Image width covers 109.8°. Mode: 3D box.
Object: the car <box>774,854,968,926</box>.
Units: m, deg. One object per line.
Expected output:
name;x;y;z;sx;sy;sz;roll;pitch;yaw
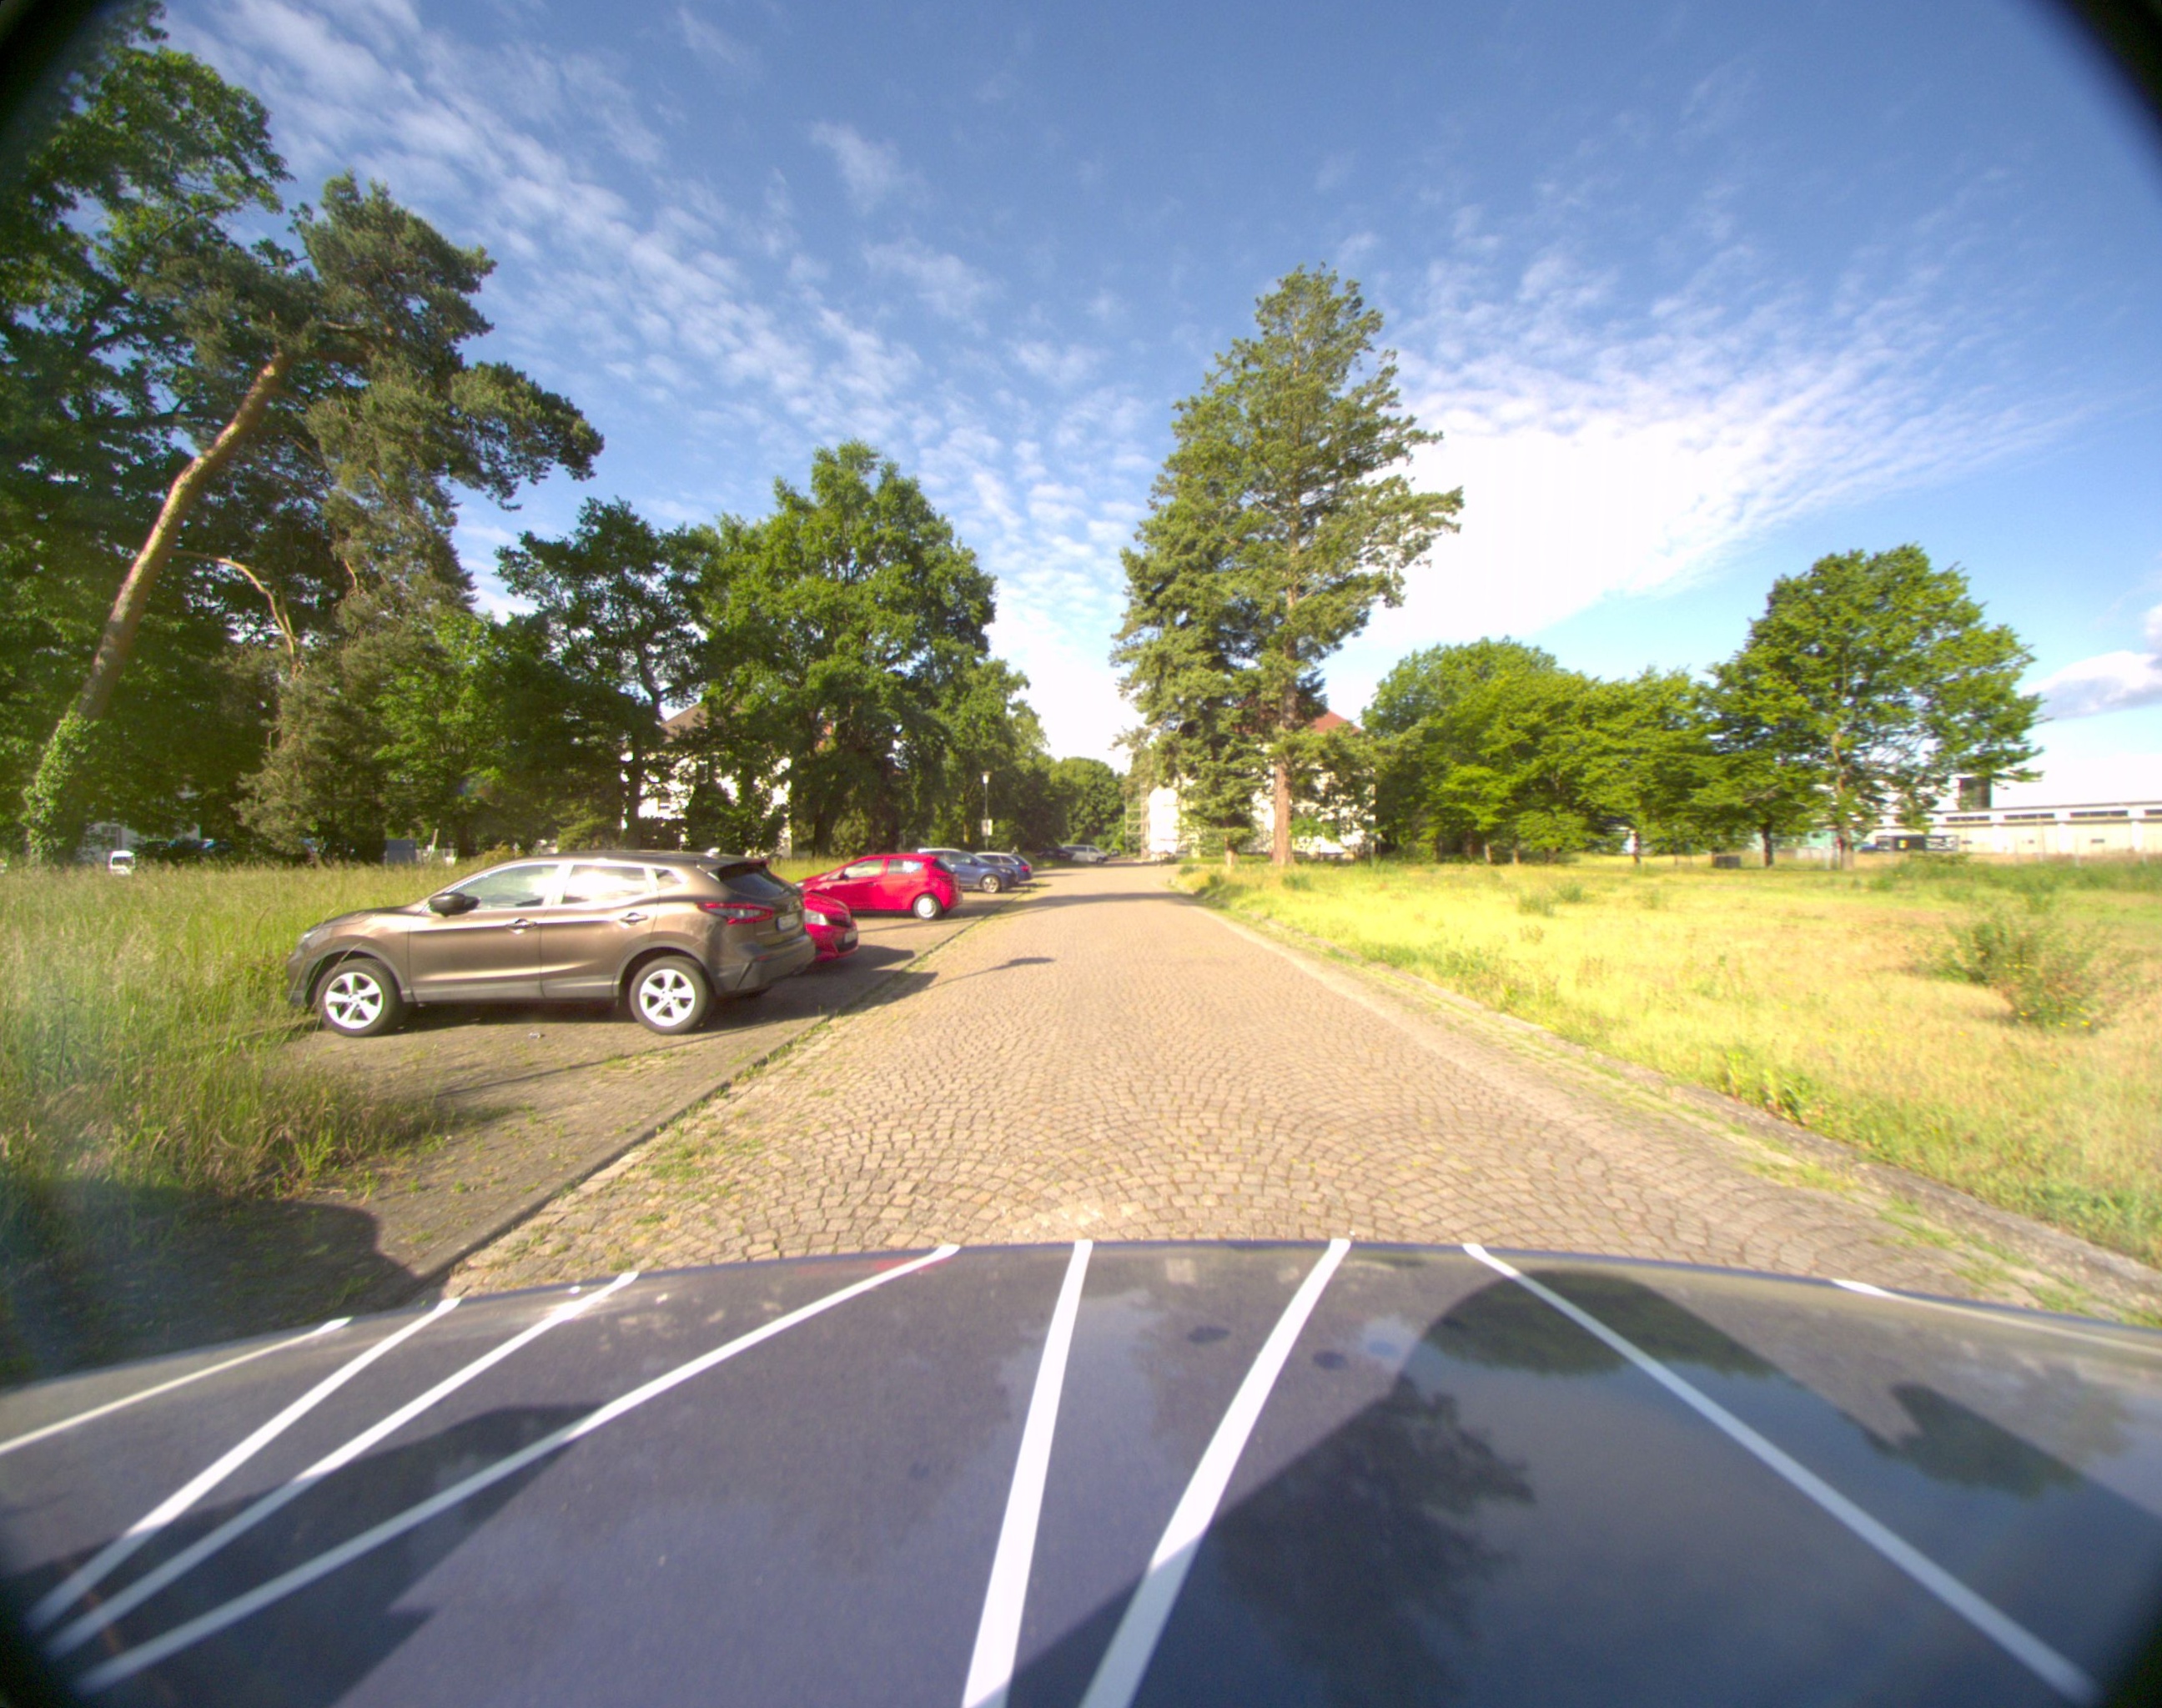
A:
car;-4.732;0.796;17.483;3.997;1.487;1.540;-1;1;1

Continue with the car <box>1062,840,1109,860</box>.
car;0.441;-0.453;81.282;4.993;2.123;2.164;-1;1;-1

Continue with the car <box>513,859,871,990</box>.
car;-4.939;0.856;10.023;3.834;1.530;1.703;0;1;1

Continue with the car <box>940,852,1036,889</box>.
car;-3.934;0.686;32.529;3.809;1.458;1.747;-1;1;2

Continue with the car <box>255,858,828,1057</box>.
car;-4.767;0.866;7.210;4.117;1.602;1.786;0;1;-1

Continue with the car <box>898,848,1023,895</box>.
car;-4.353;0.622;27.765;4.273;1.589;1.651;1;1;0
